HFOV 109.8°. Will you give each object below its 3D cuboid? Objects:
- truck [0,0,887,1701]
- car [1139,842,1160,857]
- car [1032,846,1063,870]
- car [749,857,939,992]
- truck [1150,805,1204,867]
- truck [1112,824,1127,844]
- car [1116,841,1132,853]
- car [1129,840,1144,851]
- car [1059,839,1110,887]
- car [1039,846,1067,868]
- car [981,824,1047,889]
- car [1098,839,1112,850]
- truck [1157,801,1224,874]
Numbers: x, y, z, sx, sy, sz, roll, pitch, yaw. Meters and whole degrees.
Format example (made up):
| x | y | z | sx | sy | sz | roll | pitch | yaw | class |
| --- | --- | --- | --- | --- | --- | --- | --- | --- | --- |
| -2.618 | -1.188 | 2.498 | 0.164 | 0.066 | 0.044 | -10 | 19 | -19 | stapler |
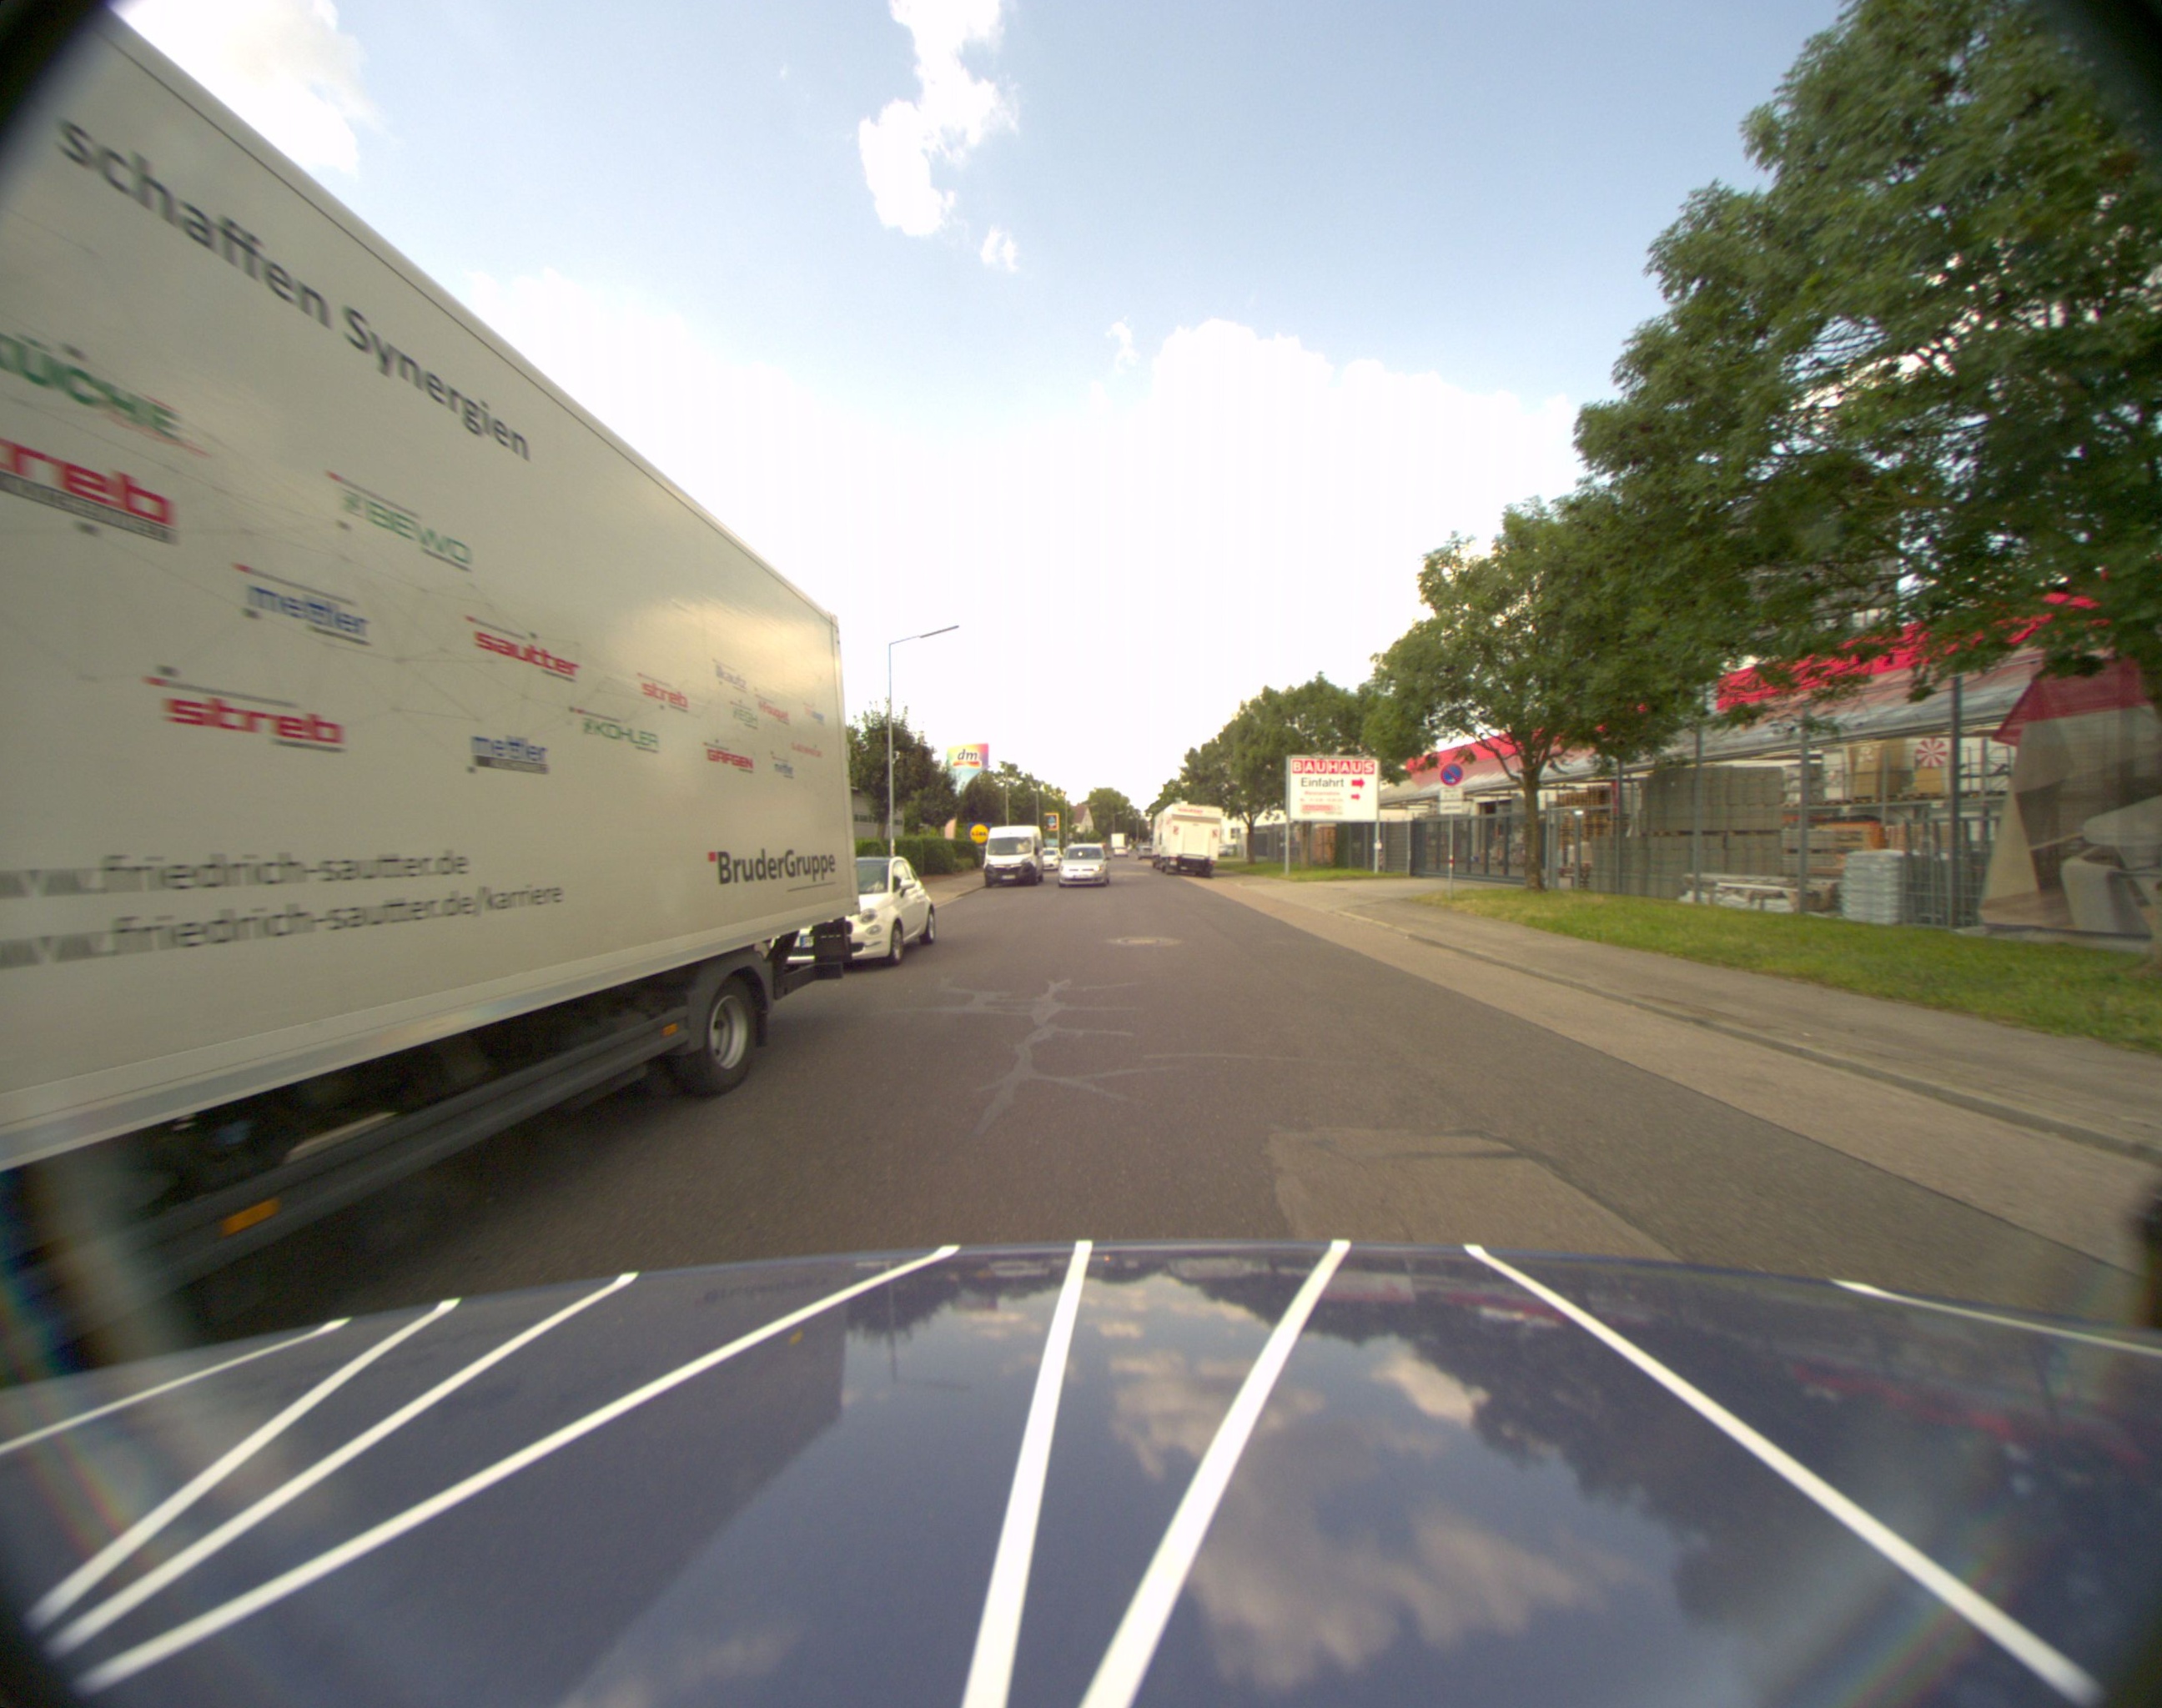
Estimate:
| x | y | z | sx | sy | sz | roll | pitch | yaw | class |
| --- | --- | --- | --- | --- | --- | --- | --- | --- | --- |
| -3.531 | -0.363 | 3.247 | 2.785 | 4.093 | 8.278 | -3 | 1 | 2 | truck |
| 7.328 | -0.496 | 81.834 | 1.982 | 1.566 | 3.999 | 0 | 1 | 1 | car |
| -2.127 | 0.228 | 49.406 | 1.698 | 1.448 | 3.549 | -3 | 1 | 1 | car |
| -3.240 | 0.873 | 11.120 | 1.549 | 1.503 | 3.625 | -3 | 1 | 0 | car |
| 6.284 | -1.160 | 50.838 | 2.754 | 3.787 | 7.171 | 1 | 1 | 1 | truck |
| 8.186 | -4.232 | 162.269 | 2.979 | 4.132 | 9.665 | 0 | 1 | 1 | truck |
| 5.570 | -0.911 | 99.034 | 1.982 | 1.467 | 3.999 | 0 | 1 | 1 | car |
| 7.707 | -1.179 | 106.078 | 1.852 | 1.566 | 3.999 | 0 | 1 | 1 | car |
| 0.214 | 0.282 | 29.429 | 1.744 | 1.675 | 4.592 | -1 | 1 | 3 | car |
| -1.985 | 0.175 | 53.867 | 1.698 | 1.448 | 3.704 | -3 | 1 | 1 | car |
| -2.706 | 0.043 | 31.847 | 2.057 | 2.395 | 5.454 | -3 | 1 | 1 | car |
| 3.458 | -1.406 | 110.053 | 1.856 | 1.467 | 3.999 | 0 | 1 | 1 | car |
| 5.953 | -0.945 | 42.420 | 2.754 | 3.702 | 7.170 | 1 | 2 | 1 | truck |
